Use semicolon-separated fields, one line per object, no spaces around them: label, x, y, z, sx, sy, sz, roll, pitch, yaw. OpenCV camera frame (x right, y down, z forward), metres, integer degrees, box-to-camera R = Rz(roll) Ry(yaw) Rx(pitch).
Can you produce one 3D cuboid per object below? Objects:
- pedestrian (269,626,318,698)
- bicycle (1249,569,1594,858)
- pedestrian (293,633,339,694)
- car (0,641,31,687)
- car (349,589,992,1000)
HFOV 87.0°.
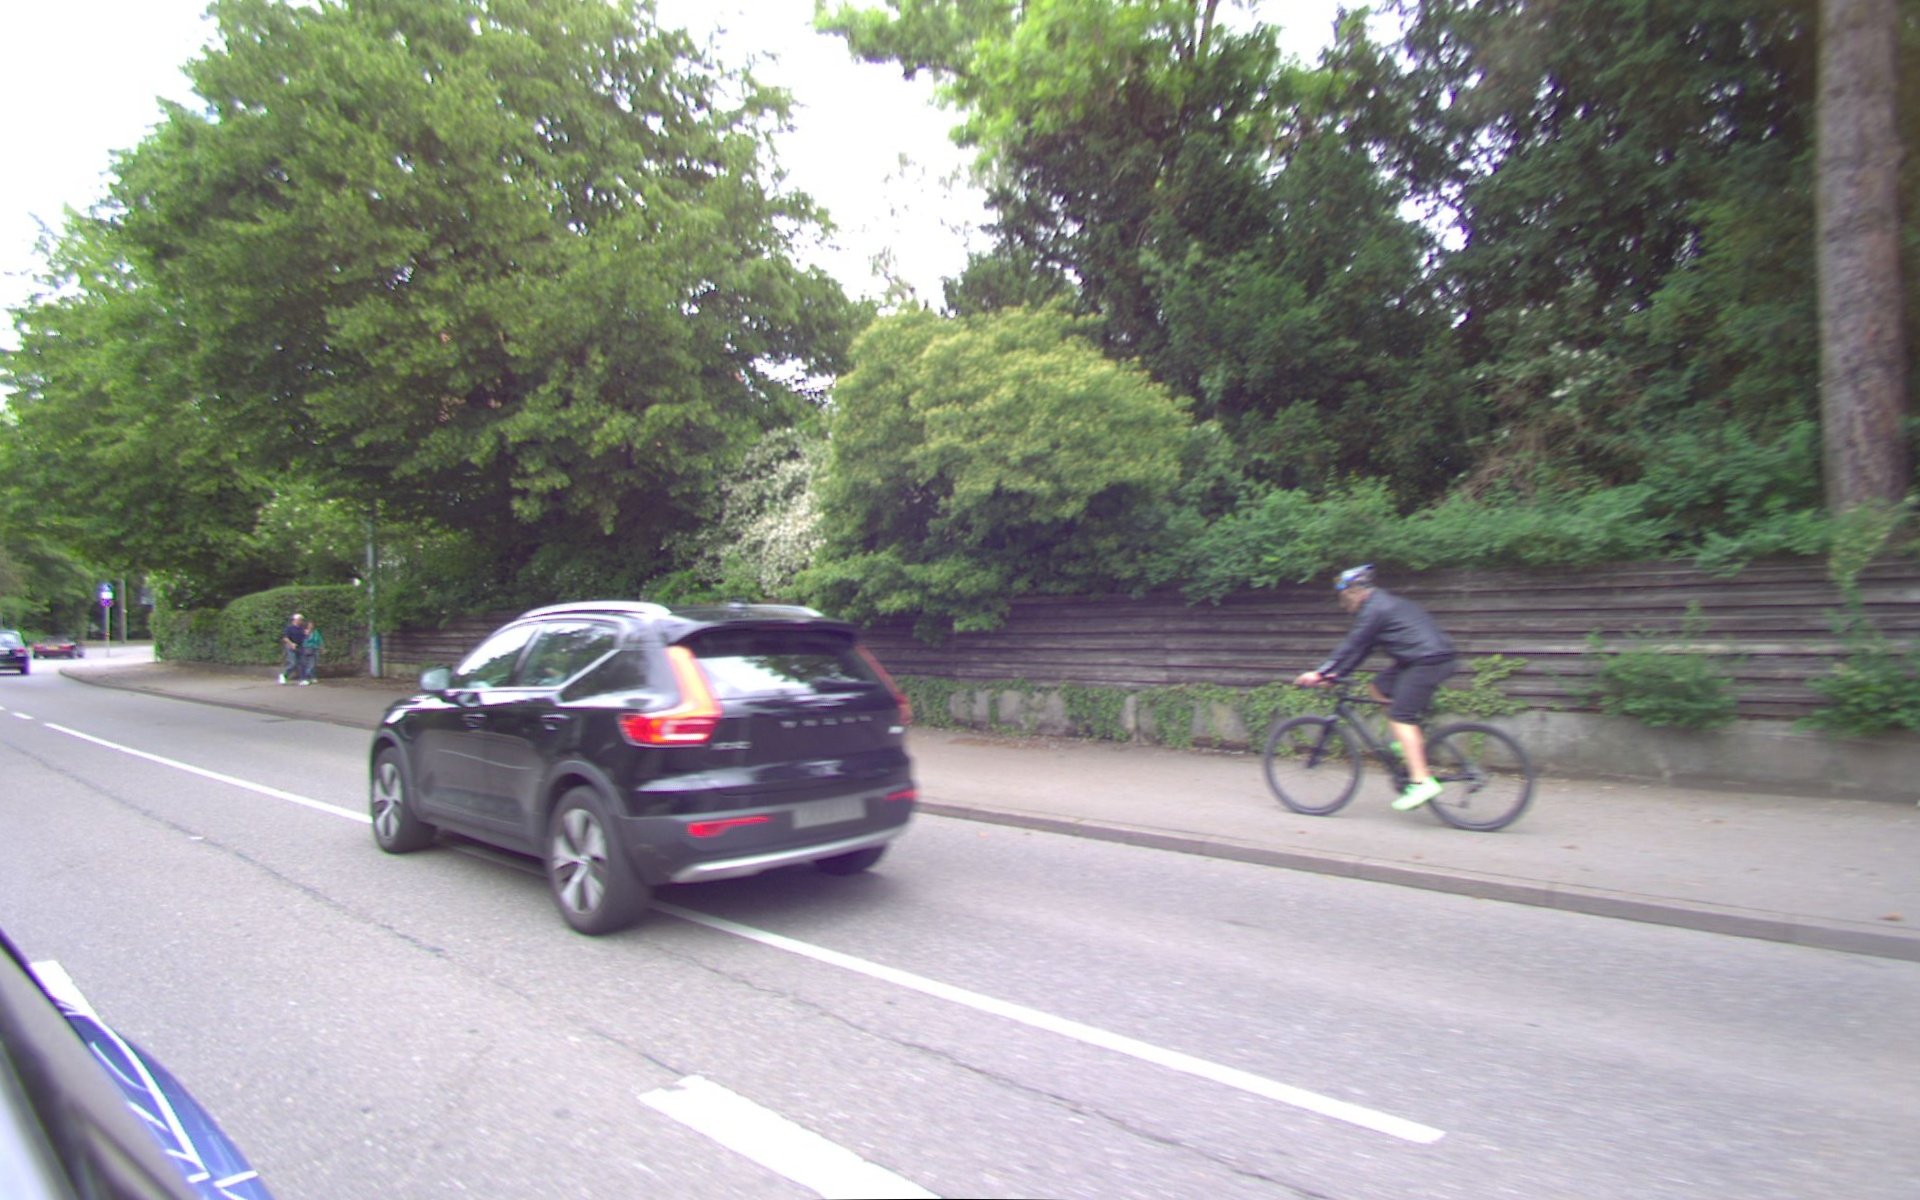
pedestrian;-15.870;1.457;24.095;0.915;1.674;0.625;-1;-1;28
bicycle;3.016;0.690;6.777;1.979;1.689;0.556;-2;-1;41
pedestrian;-15.834;1.543;24.877;0.754;1.460;0.665;-2;-2;28
car;-32.130;2.106;33.564;3.531;1.483;1.701;-2;-3;44
car;-2.012;0.859;6.200;4.282;1.643;1.812;-2;-3;42
